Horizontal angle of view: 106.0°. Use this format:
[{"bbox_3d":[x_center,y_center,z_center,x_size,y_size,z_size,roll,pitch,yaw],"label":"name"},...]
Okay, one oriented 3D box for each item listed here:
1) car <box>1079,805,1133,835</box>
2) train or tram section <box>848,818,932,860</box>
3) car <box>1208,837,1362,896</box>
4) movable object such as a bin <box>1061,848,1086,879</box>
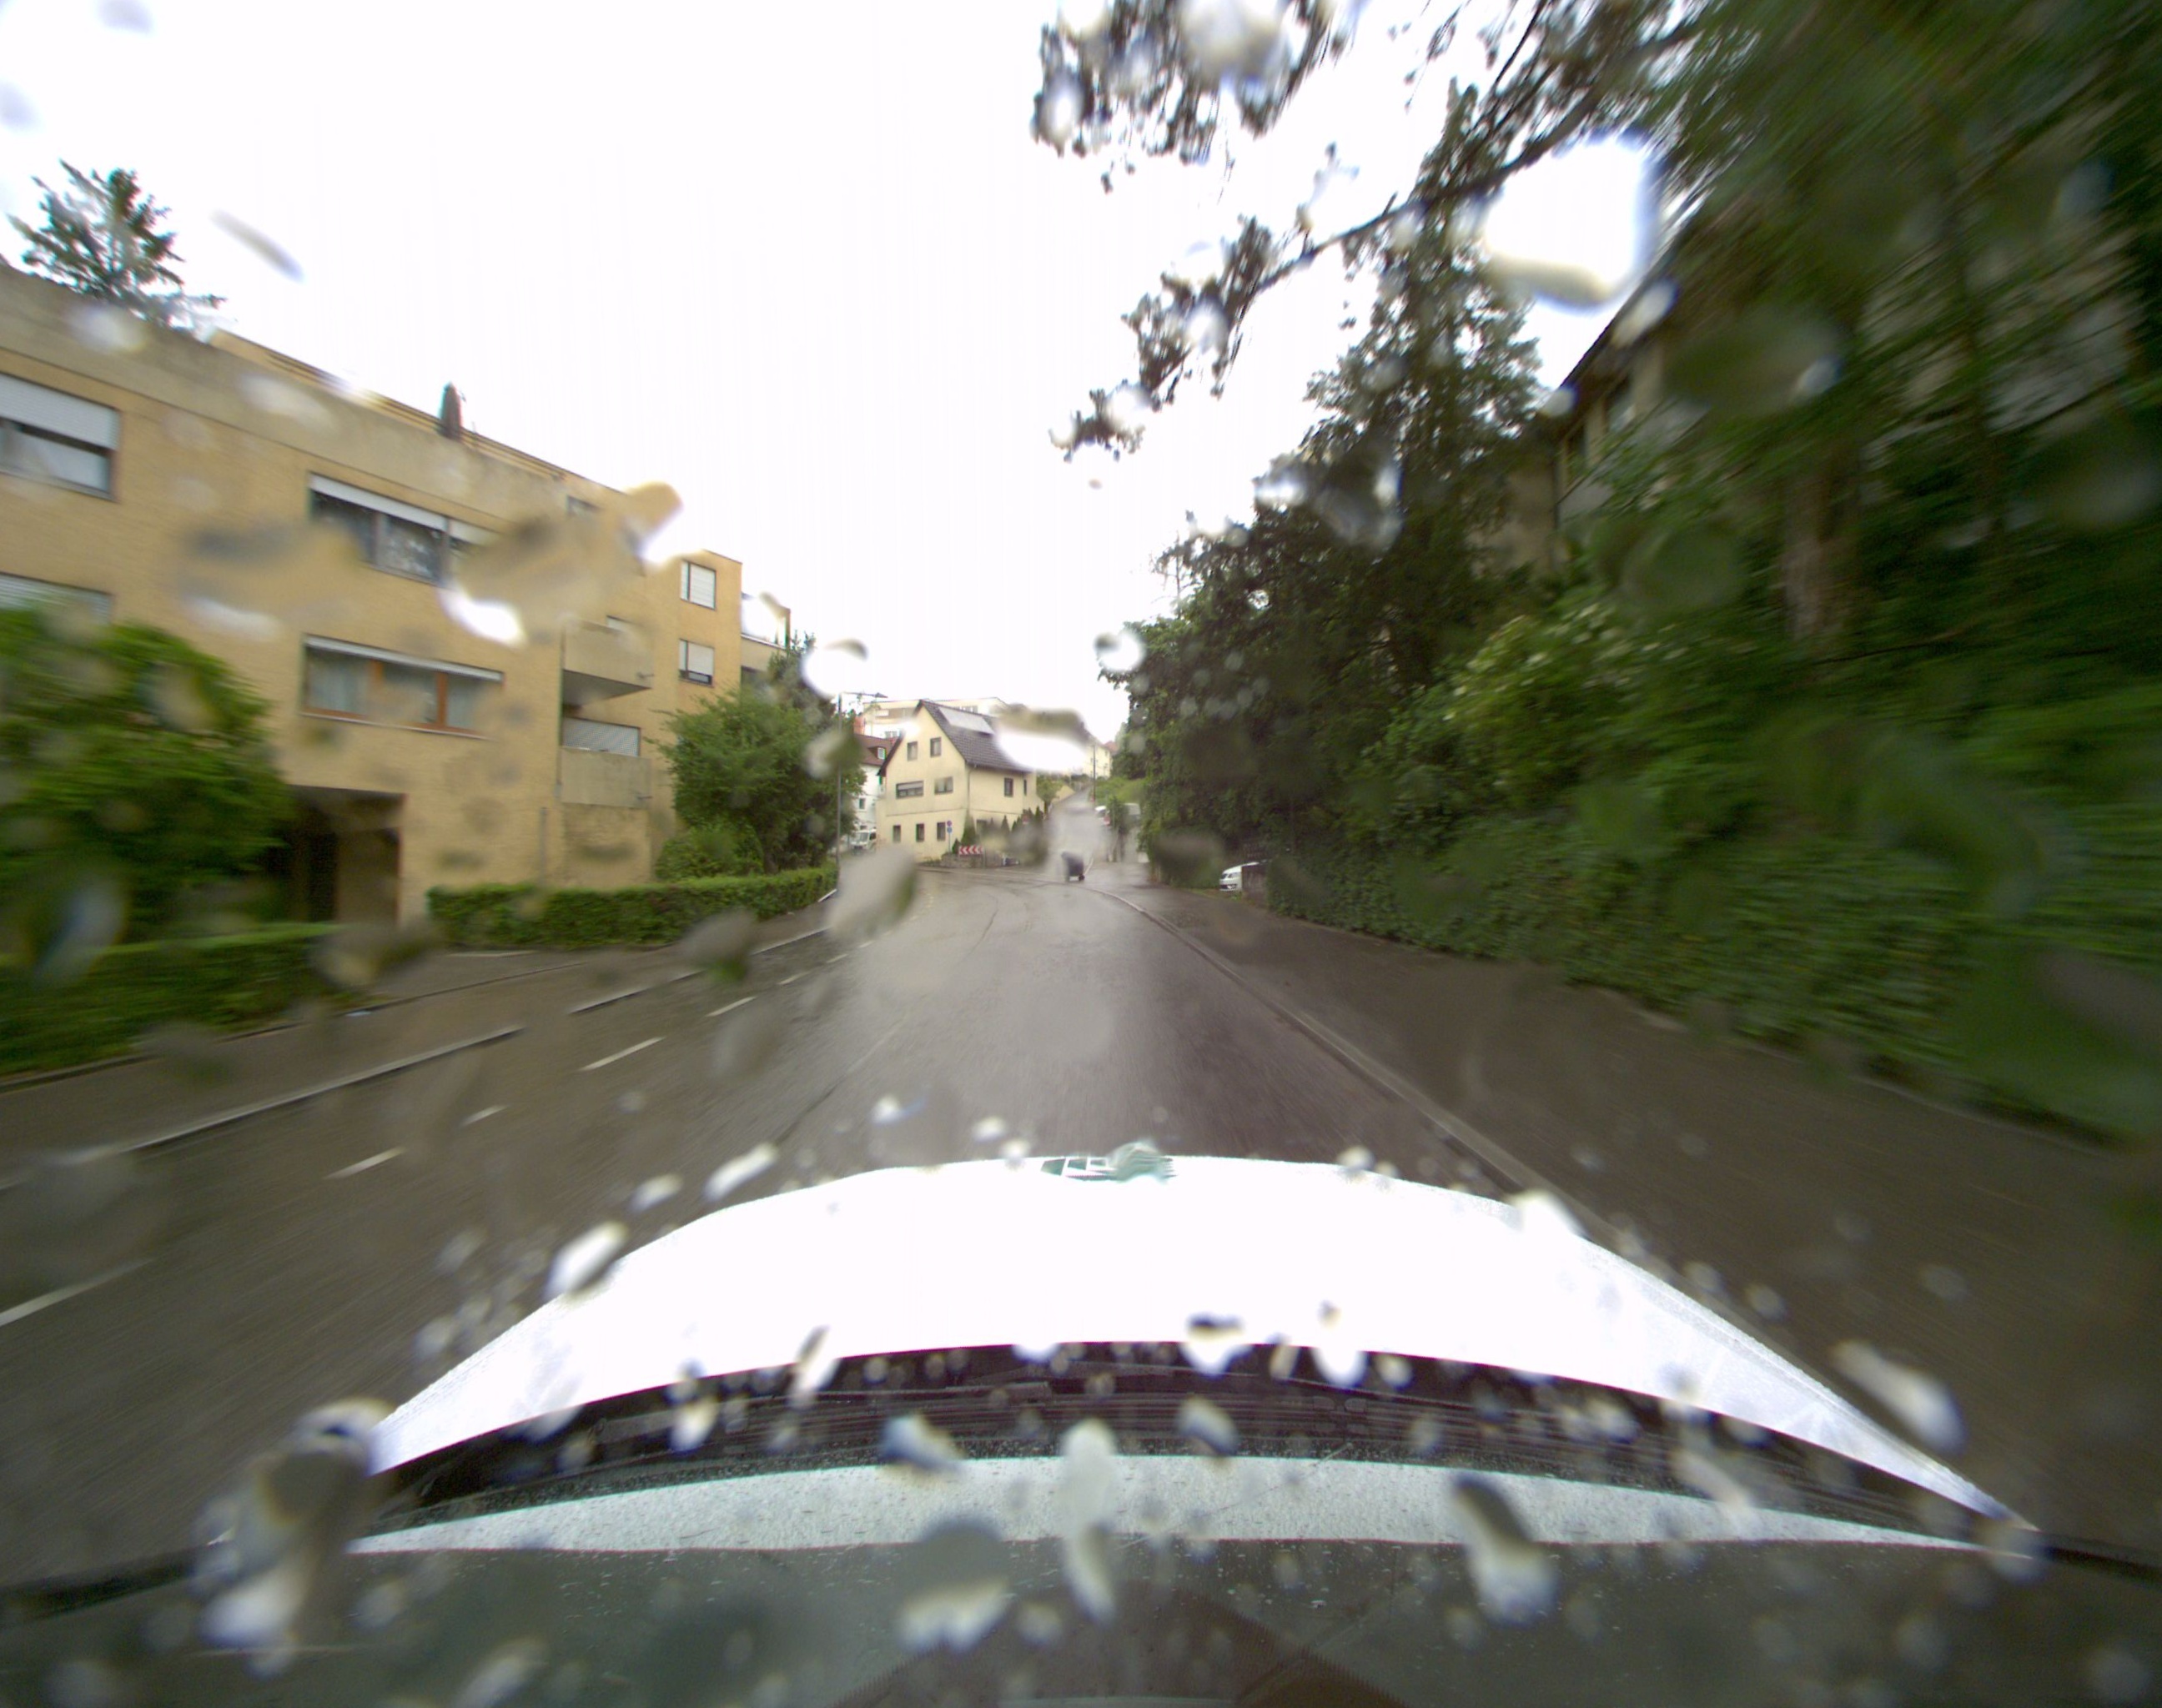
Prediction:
[{"bbox_3d":[2.403,-3.270,79.155,4.936,2.569,1.901,-3,0,-6],"label":"car"},{"bbox_3d":[-15.517,-1.235,66.669,2.335,3.203,6.914,-1,1,35],"label":"train or tram section"},{"bbox_3d":[6.099,0.353,24.661,4.131,1.476,1.903,-3,0,-1],"label":"car"},{"bbox_3d":[-0.346,0.424,38.032,1.077,1.442,1.458,0,0,2],"label":"movable object such as a bin"}]
